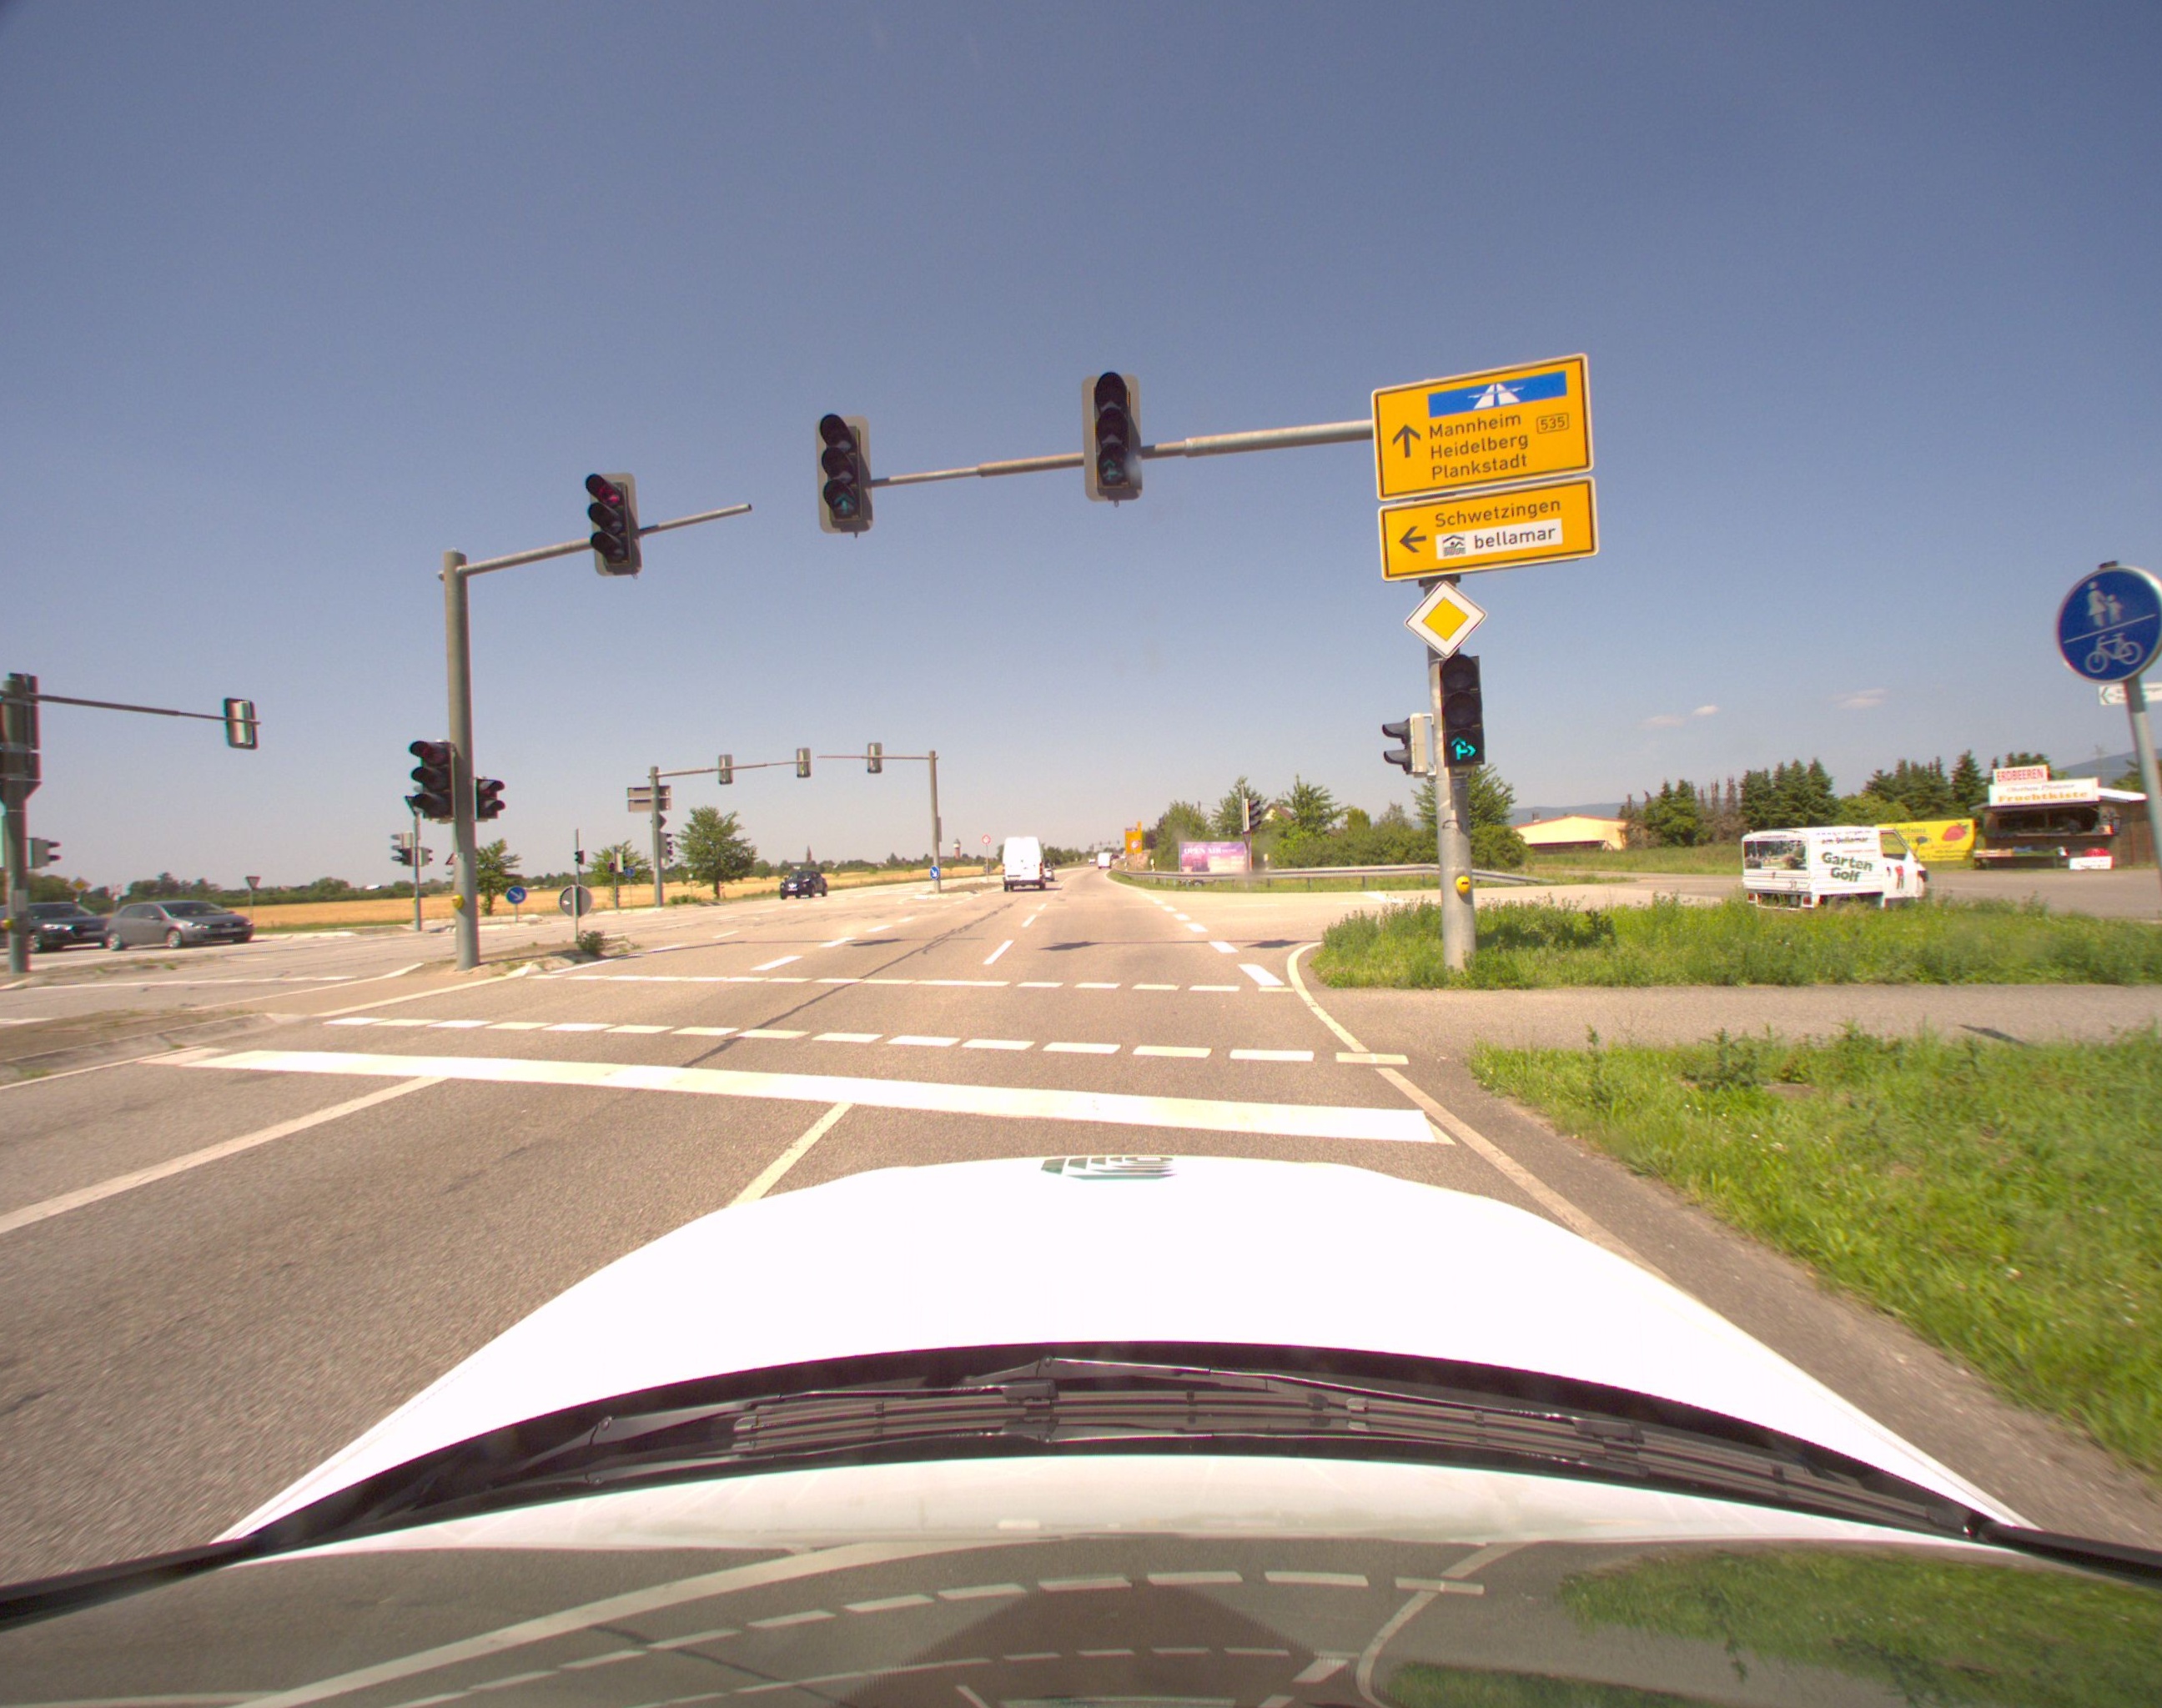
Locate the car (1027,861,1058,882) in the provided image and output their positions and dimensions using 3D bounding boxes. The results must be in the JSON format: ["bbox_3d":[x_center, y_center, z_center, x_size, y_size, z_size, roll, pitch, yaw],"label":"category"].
[{"bbox_3d":[-3.013,1.321,64.130,1.791,1.508,4.201,-2,0,5],"label":"car"}]

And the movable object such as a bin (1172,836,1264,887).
[{"bbox_3d":[6.489,0.368,38.721,4.084,2.331,1.276,-1,-1,-3],"label":"movable object such as a bin"}]

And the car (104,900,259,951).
[{"bbox_3d":[-28.409,2.262,25.747,3.839,1.387,1.641,-2,0,14],"label":"car"}]

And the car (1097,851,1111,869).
[{"bbox_3d":[3.704,0.960,131.178,1.984,2.695,4.976,-1,-2,5],"label":"car"}]

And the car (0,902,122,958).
[{"bbox_3d":[-34.494,2.560,27.123,4.321,1.594,1.642,-4,-1,17],"label":"car"}]

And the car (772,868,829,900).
[{"bbox_3d":[-15.612,1.634,45.541,1.826,1.600,4.301,-3,-1,-3],"label":"car"}]

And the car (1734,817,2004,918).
[{"bbox_3d":[13.128,0.213,13.662,3.331,1.500,1.398,-2,-1,-5],"label":"car"}]

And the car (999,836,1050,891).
[{"bbox_3d":[-2.813,0.503,41.976,2.031,2.620,5.742,-1,-1,2],"label":"car"}]

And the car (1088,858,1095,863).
[{"bbox_3d":[3.323,1.980,248.409,1.741,1.442,4.087,-3,-1,5],"label":"car"}]
